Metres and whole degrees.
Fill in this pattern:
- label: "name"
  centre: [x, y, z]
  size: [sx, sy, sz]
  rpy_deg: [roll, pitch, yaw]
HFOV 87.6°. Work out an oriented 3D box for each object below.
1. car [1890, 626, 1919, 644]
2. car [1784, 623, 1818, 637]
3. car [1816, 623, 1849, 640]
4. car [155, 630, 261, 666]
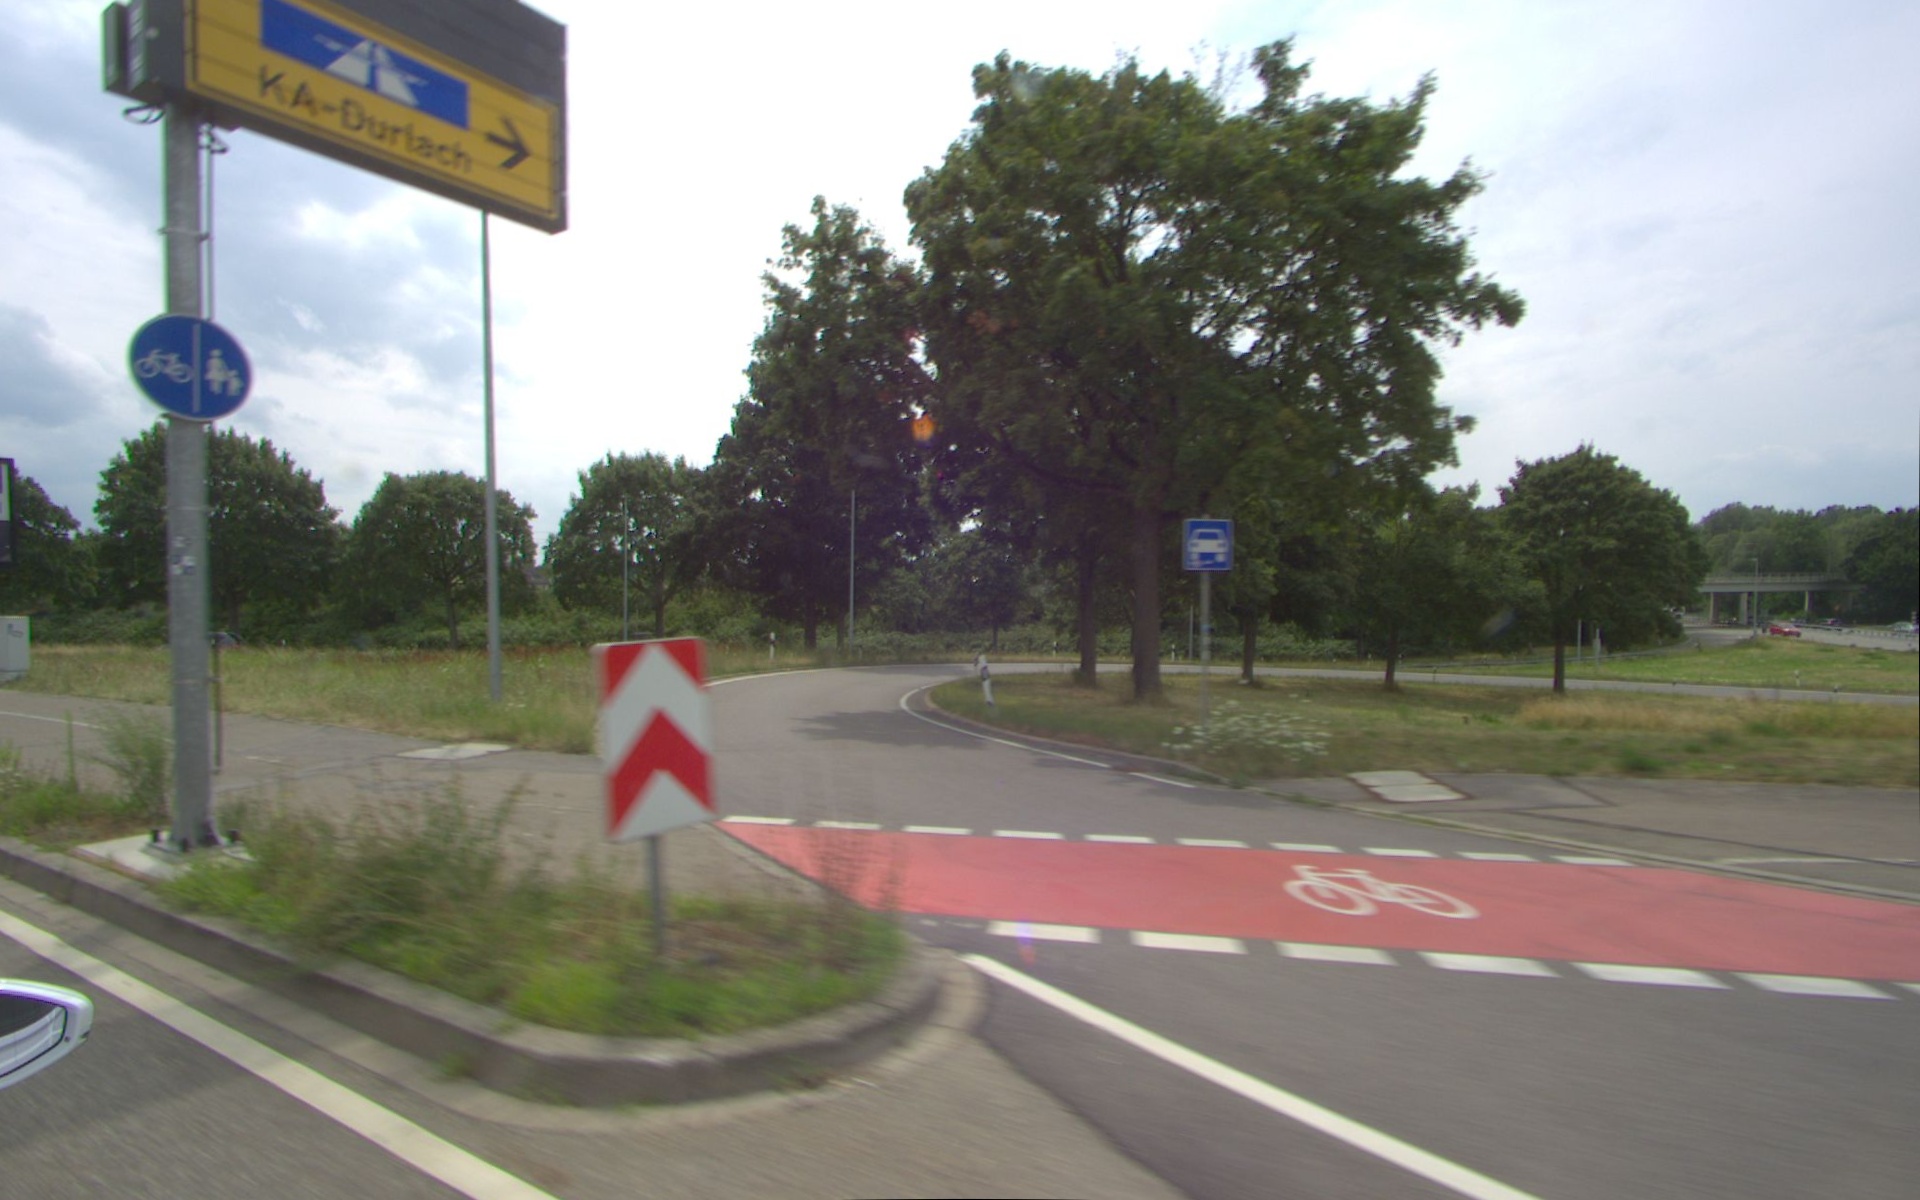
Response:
- label: "car"
  centre: [114.550, 4.218, 120.604]
  size: [1.962, 2.039, 4.000]
  rpy_deg: [0, -2, 11]
- label: "car"
  centre: [121.440, 4.353, 144.609]
  size: [1.962, 2.039, 4.000]
  rpy_deg: [0, -2, 10]
- label: "car"
  centre: [113.877, 4.090, 130.707]
  size: [1.844, 2.040, 3.993]
  rpy_deg: [1, 0, 18]
- label: "car"
  centre: [-36.656, 2.335, 48.941]
  size: [3.943, 1.690, 1.700]
  rpy_deg: [1, -1, -30]
